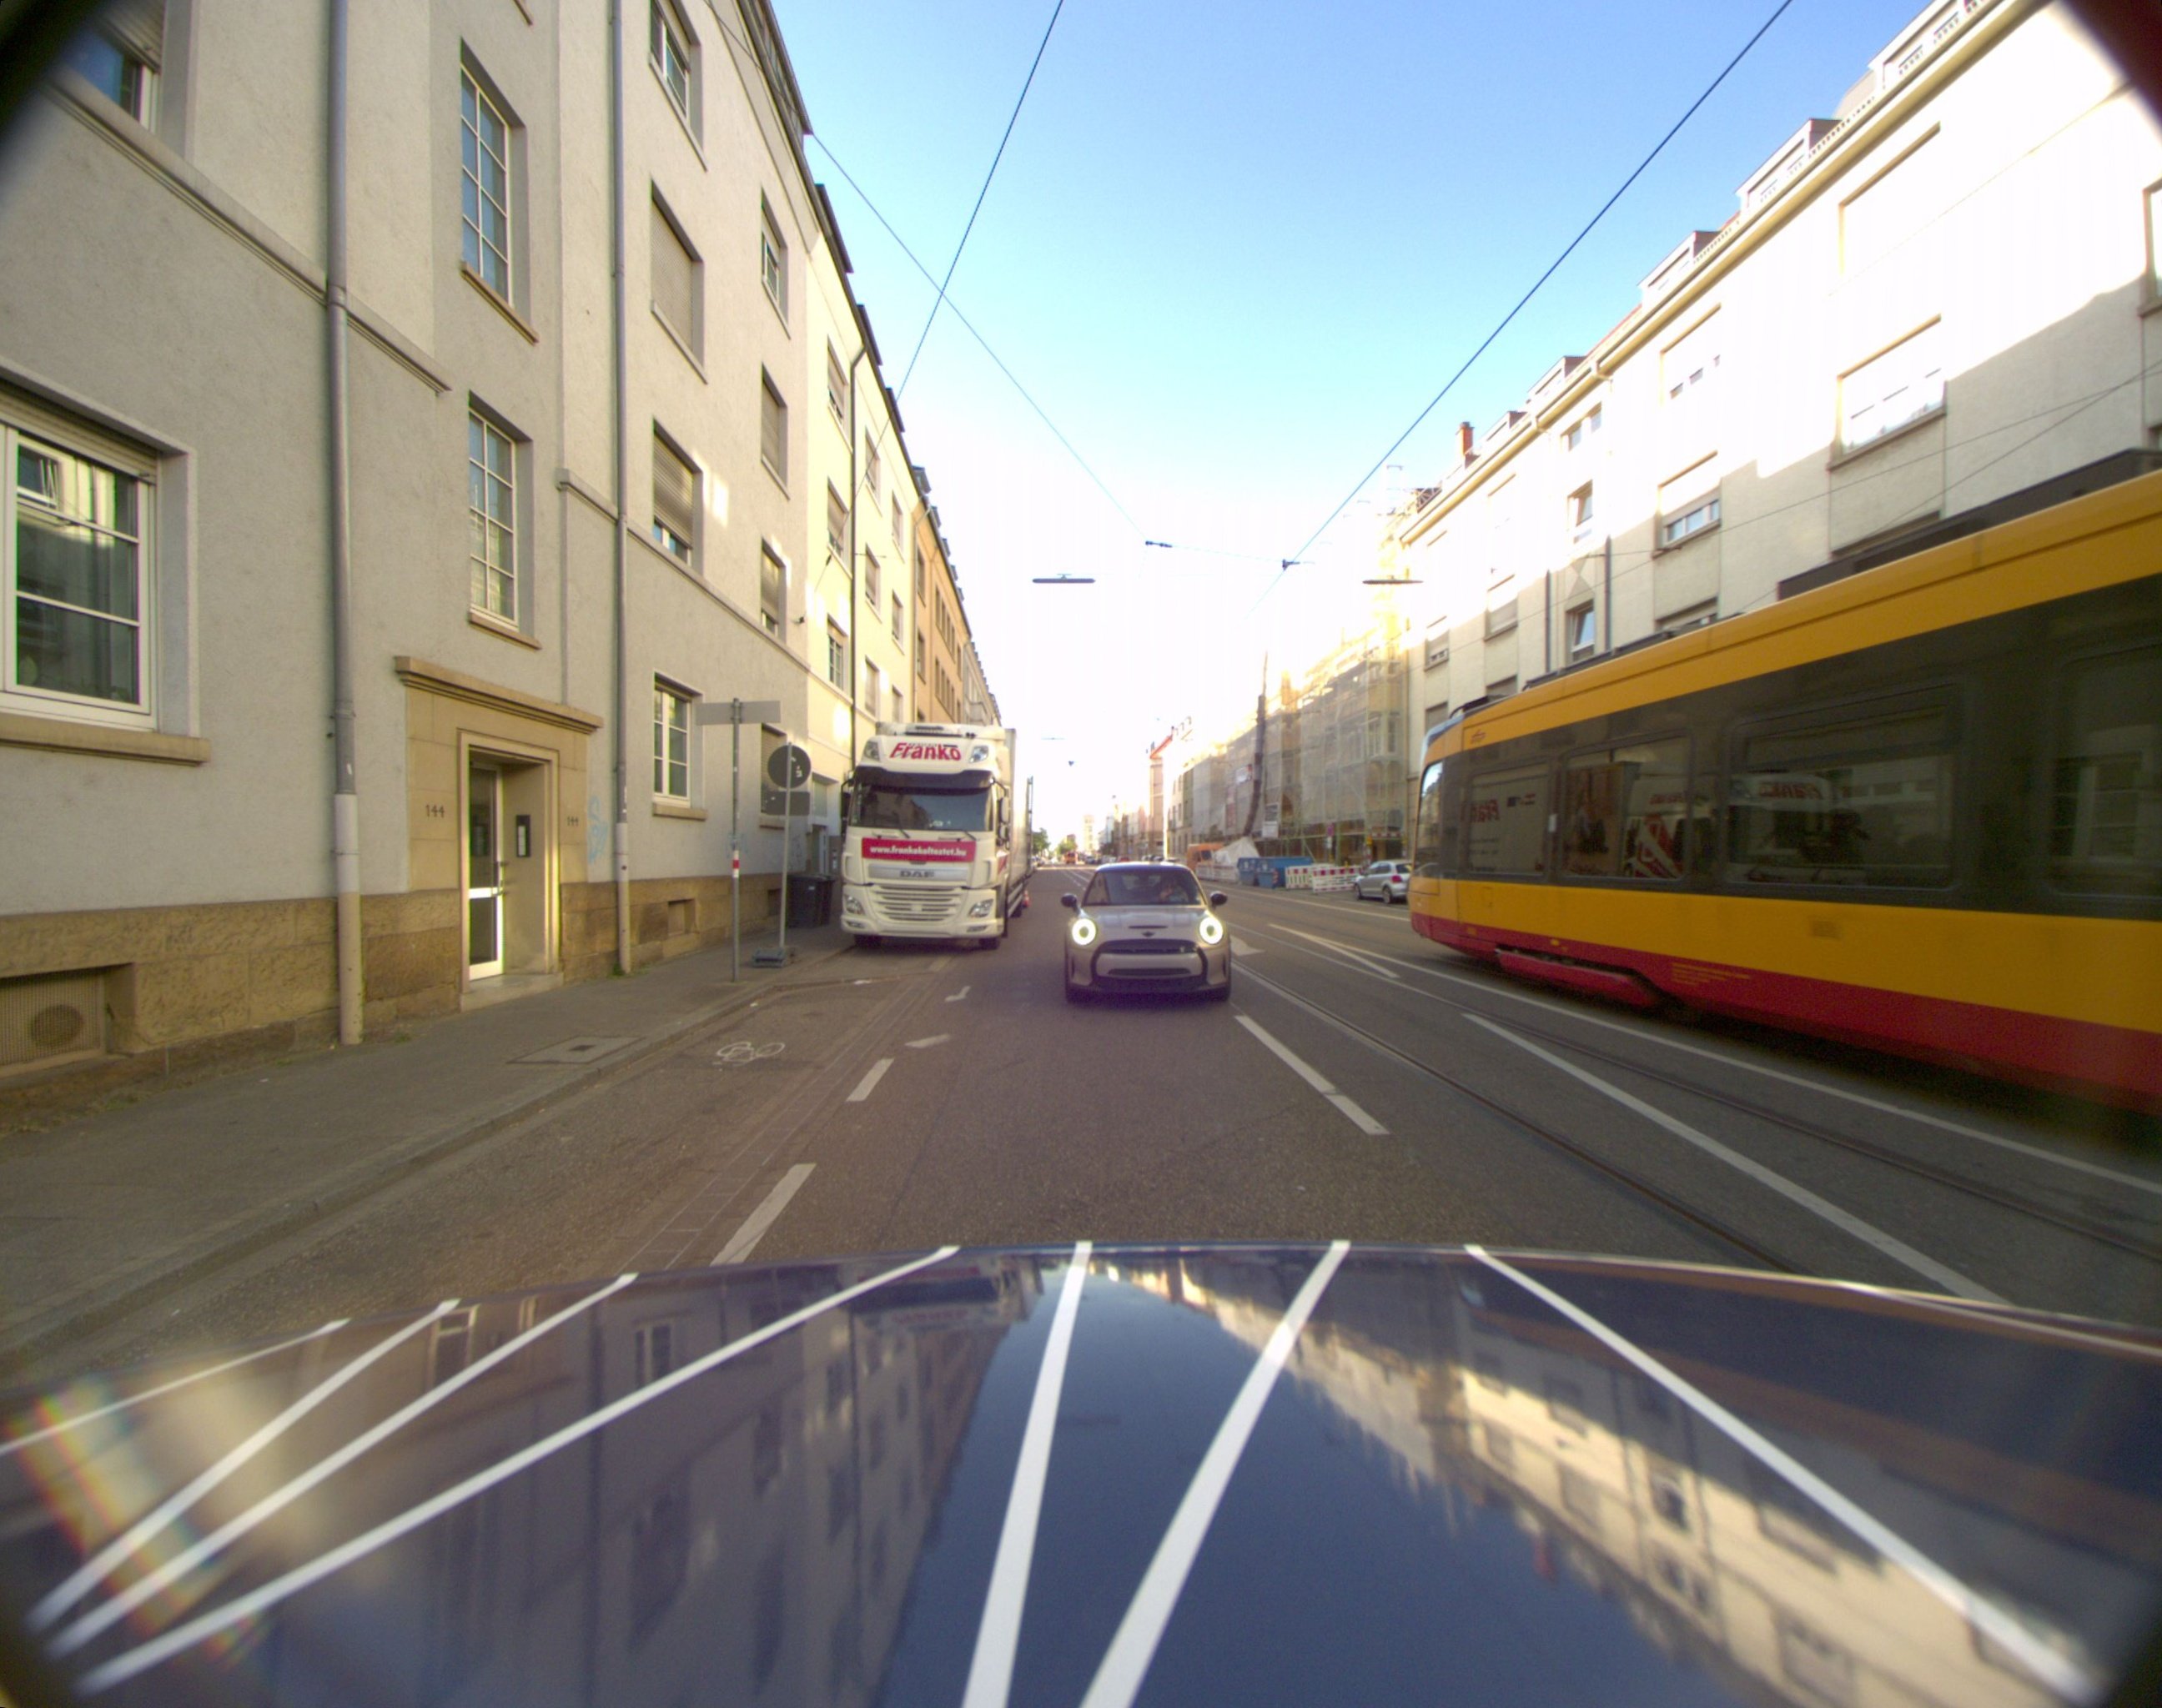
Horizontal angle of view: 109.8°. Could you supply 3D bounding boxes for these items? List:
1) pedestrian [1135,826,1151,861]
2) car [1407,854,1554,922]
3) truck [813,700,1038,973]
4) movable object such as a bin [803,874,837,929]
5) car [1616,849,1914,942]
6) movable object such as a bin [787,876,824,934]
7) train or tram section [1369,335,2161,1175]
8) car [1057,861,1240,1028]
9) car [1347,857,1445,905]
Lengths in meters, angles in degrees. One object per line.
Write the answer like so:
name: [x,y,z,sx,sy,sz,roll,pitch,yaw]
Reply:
pedestrian: [7.663,-1.303,94.391,1.723,4.377,1.153,-2,1,2]
car: [10.827,0.856,20.936,1.712,1.582,4.112,-2,1,-3]
truck: [-2.636,-0.255,17.139,2.899,3.939,11.704,-2,0,-2]
movable object such as a bin: [-5.348,0.970,15.600,0.512,1.085,0.495,-2,1,-4]
car: [11.170,0.597,12.777,1.751,1.269,3.488,-2,1,-4]
movable object such as a bin: [-5.394,0.989,14.908,0.512,1.085,0.495,-2,1,-4]
train or tram section: [6.069,-0.423,5.114,3.070,3.573,12.627,1,0,-2]
car: [0.625,0.859,9.044,1.692,1.495,4.000,0,0,0]
car: [10.636,0.861,25.895,1.637,1.383,3.643,-2,1,-3]
